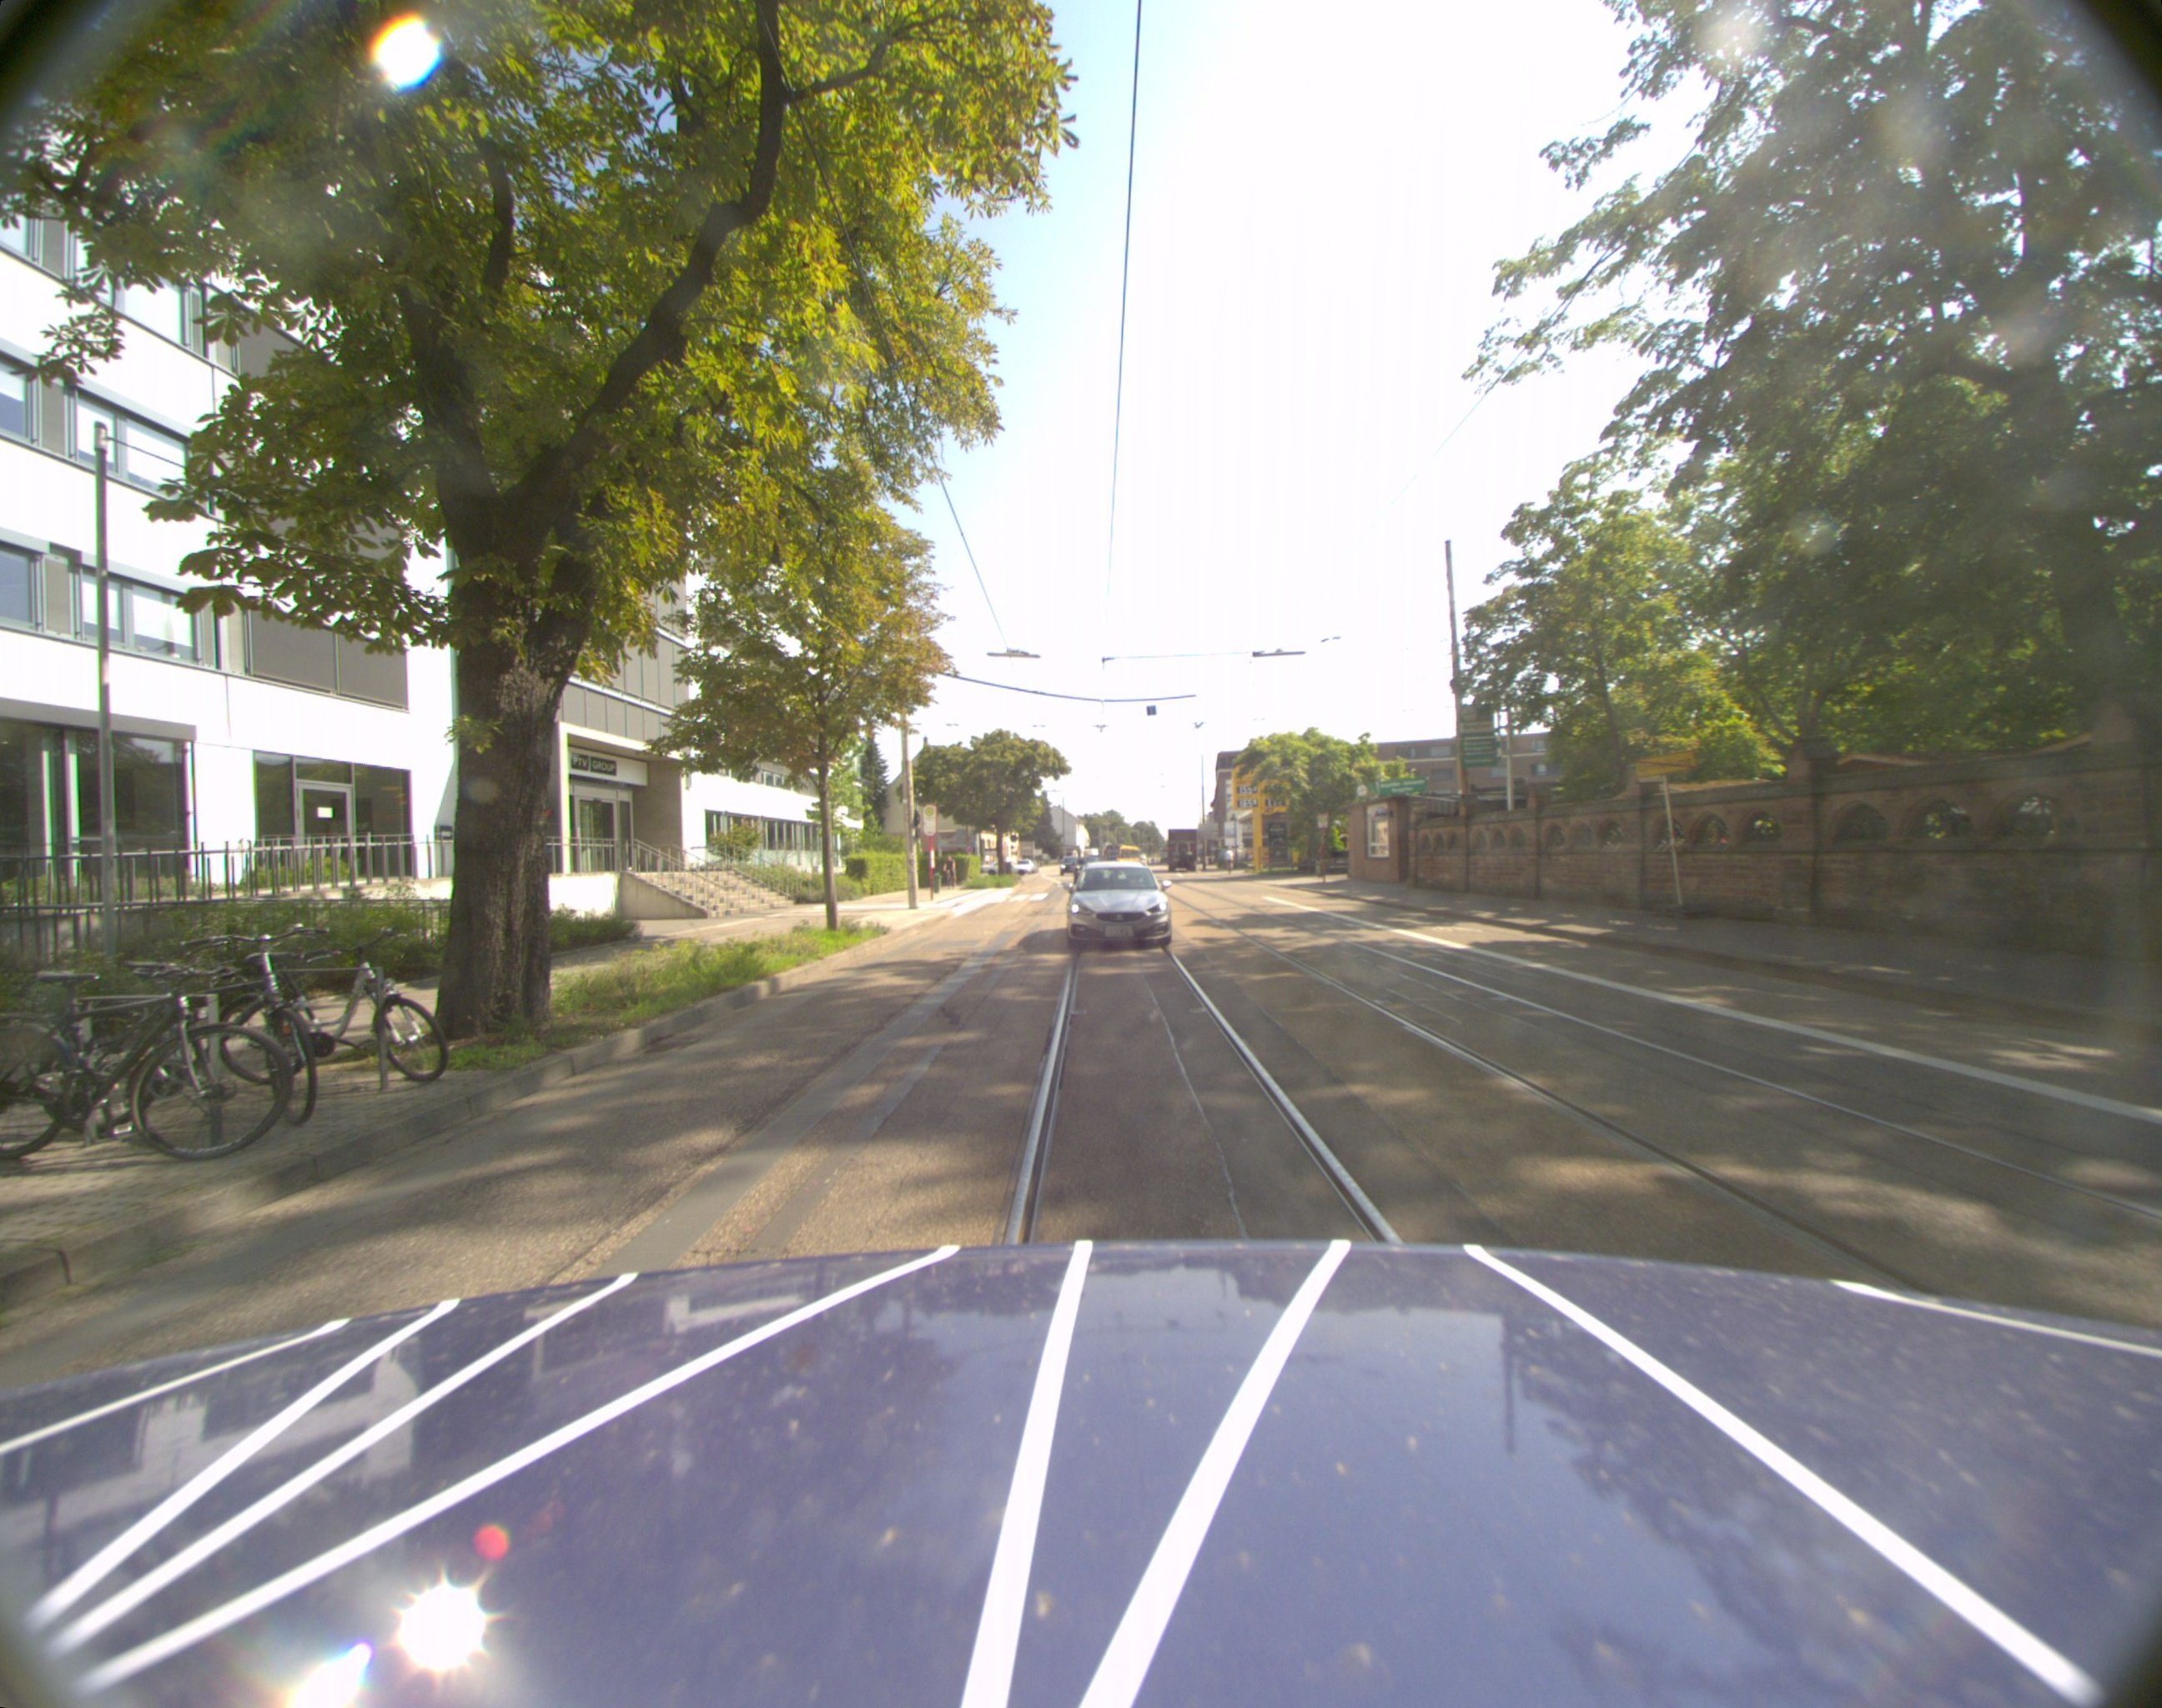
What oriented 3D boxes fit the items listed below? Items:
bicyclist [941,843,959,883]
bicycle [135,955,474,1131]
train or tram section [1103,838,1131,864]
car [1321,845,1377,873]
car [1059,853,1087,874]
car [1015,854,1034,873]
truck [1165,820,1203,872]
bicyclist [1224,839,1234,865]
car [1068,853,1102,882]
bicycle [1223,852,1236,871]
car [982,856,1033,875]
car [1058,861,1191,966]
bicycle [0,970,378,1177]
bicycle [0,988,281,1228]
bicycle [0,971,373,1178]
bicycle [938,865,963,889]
[{"bbox_3d":[-6.727,0.447,39.087,0.783,2.002,1.273,-2,1,-7],"label":"bicyclist"},{"bbox_3d":[-5.316,1.279,5.261,1.775,1.065,0.540,-1,1,0],"label":"bicycle"},{"bbox_3d":[6.022,-0.558,127.441,4.111,3.711,24.380,-2,0,3],"label":"train or tram section"},{"bbox_3d":[15.788,0.270,44.647,1.932,1.452,4.536,-2,1,35],"label":"car"},{"bbox_3d":[-0.638,0.813,66.978,2.260,1.660,5.653,-2,0,1],"label":"car"},{"bbox_3d":[-6.257,1.056,84.057,1.960,1.910,4.552,-2,0,-3],"label":"car"},{"bbox_3d":[9.993,-0.811,74.351,3.171,4.427,16.848,-2,0,7],"label":"truck"},{"bbox_3d":[10.928,-0.155,56.096,0.642,1.918,1.177,-2,1,15],"label":"bicyclist"},{"bbox_3d":[0.266,0.772,44.516,1.834,1.543,4.032,-2,0,1],"label":"car"},{"bbox_3d":[10.949,0.542,56.029,0.787,1.233,2.035,-2,2,14],"label":"bicycle"},{"bbox_3d":[-6.730,1.038,70.037,4.552,1.506,1.960,-2,1,-4],"label":"car"},{"bbox_3d":[0.688,0.907,13.758,1.928,1.465,4.817,-2,0,1],"label":"car"},{"bbox_3d":[-5.379,1.286,4.566,1.775,1.065,0.540,-1,1,0],"label":"bicycle"},{"bbox_3d":[-5.360,1.289,3.965,1.775,1.065,0.540,-1,1,0],"label":"bicycle"},{"bbox_3d":[-5.390,1.286,4.545,1.775,1.065,0.540,-1,1,0],"label":"bicycle"},{"bbox_3d":[-6.720,1.163,39.219,1.139,1.118,2.535,-2,0,-7],"label":"bicycle"}]
